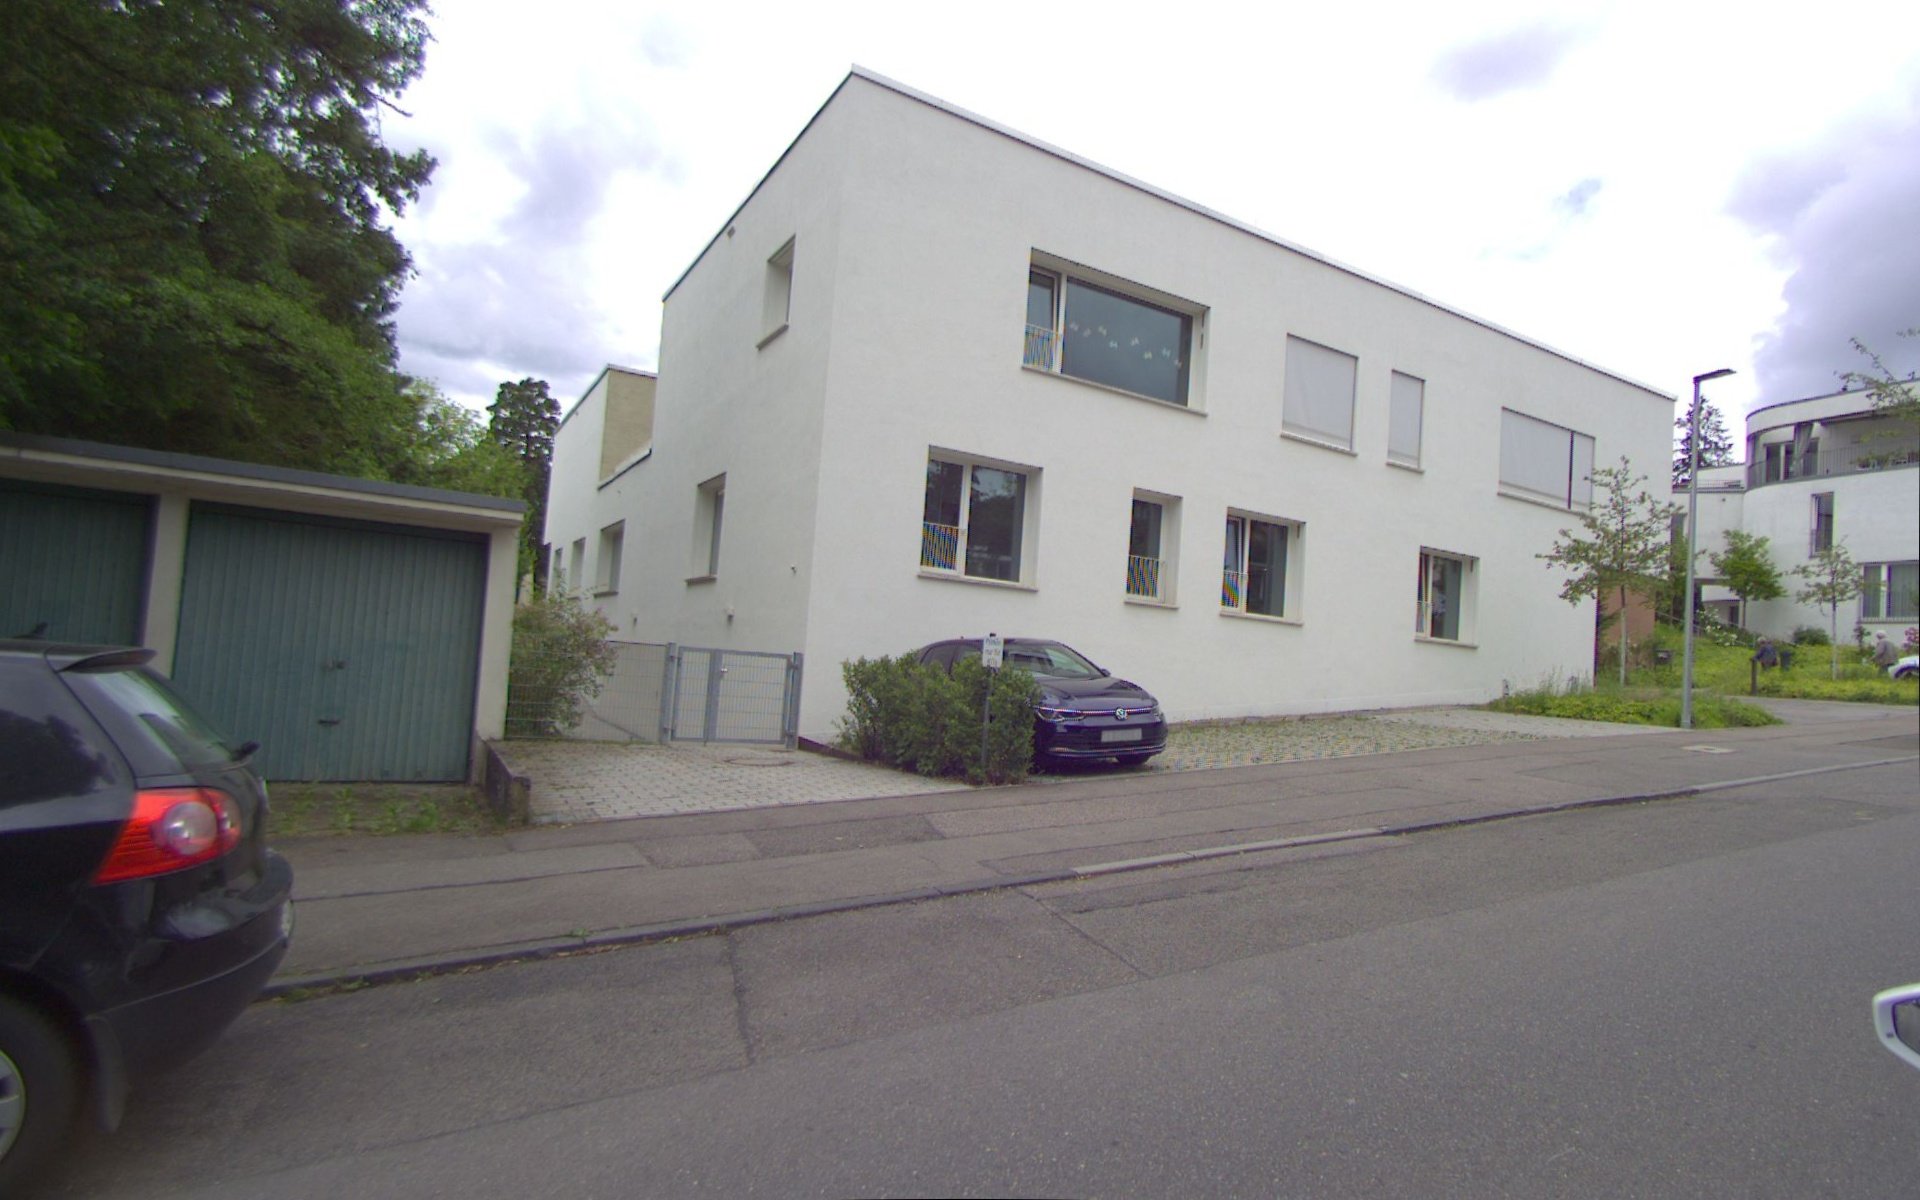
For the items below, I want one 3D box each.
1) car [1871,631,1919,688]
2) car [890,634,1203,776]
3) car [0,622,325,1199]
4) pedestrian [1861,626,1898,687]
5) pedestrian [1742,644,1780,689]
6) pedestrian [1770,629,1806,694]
[{"bbox_3d":[28.450,1.662,27.815,2.043,1.587,4.365,1,-3,-31],"label":"car"},{"bbox_3d":[0.868,1.111,11.968,1.724,1.372,3.770,2,-2,-35],"label":"car"},{"bbox_3d":[-4.255,0.788,2.321,4.630,1.489,1.841,2,-3,-32],"label":"car"},{"bbox_3d":[25.650,1.576,28.033,0.558,1.662,0.591,1,-2,-29],"label":"pedestrian"},{"bbox_3d":[24.260,2.005,30.423,0.889,1.300,0.604,2,0,-30],"label":"pedestrian"},{"bbox_3d":[22.087,1.636,26.785,0.513,1.704,0.586,1,-2,-28],"label":"pedestrian"}]
